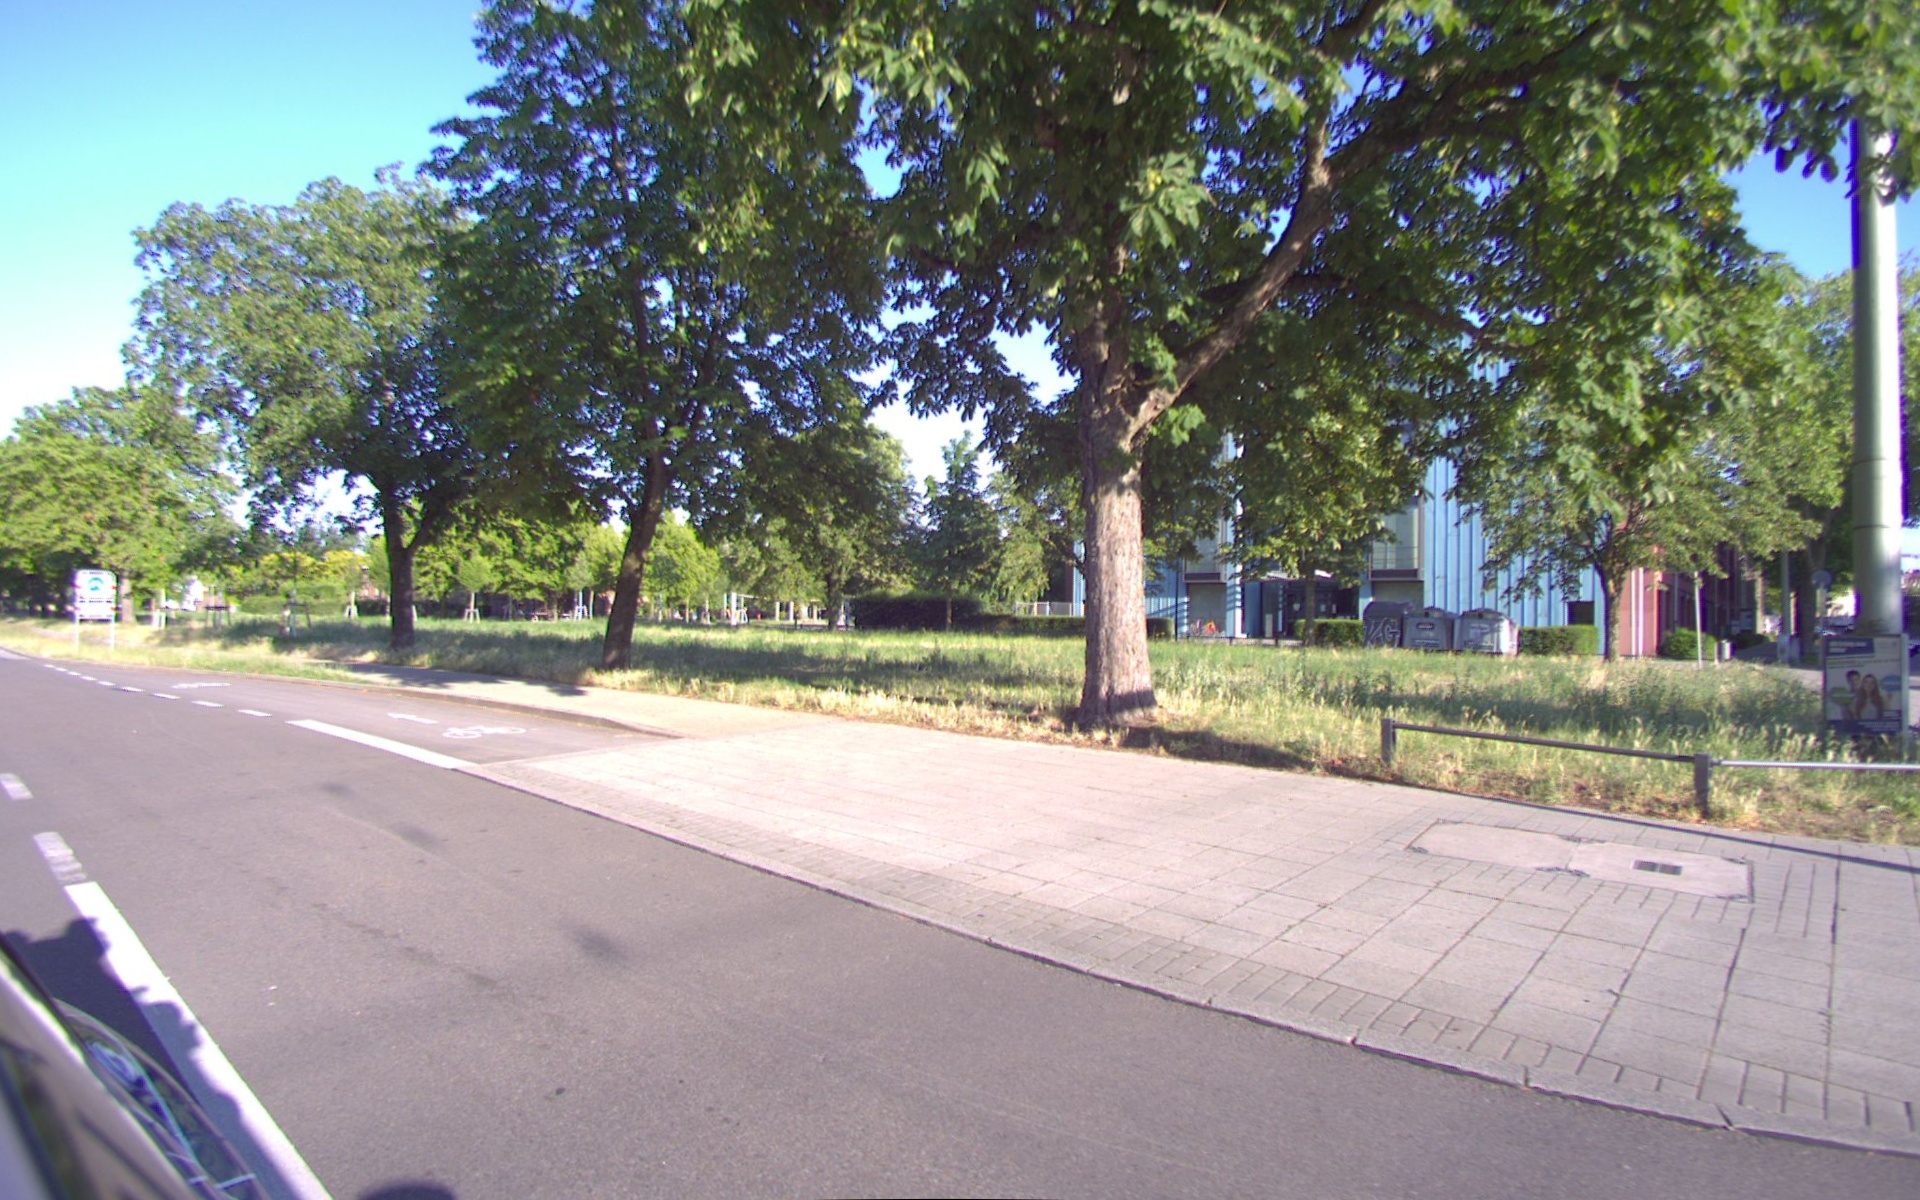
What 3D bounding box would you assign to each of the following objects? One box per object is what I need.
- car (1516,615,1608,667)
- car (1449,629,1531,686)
[{"bbox_3d":[21.579,1.400,36.166,1.999,1.684,5.153,1,0,40],"label":"car"},{"bbox_3d":[19.796,2.057,37.669,1.964,1.684,5.159,1,2,36],"label":"car"}]
